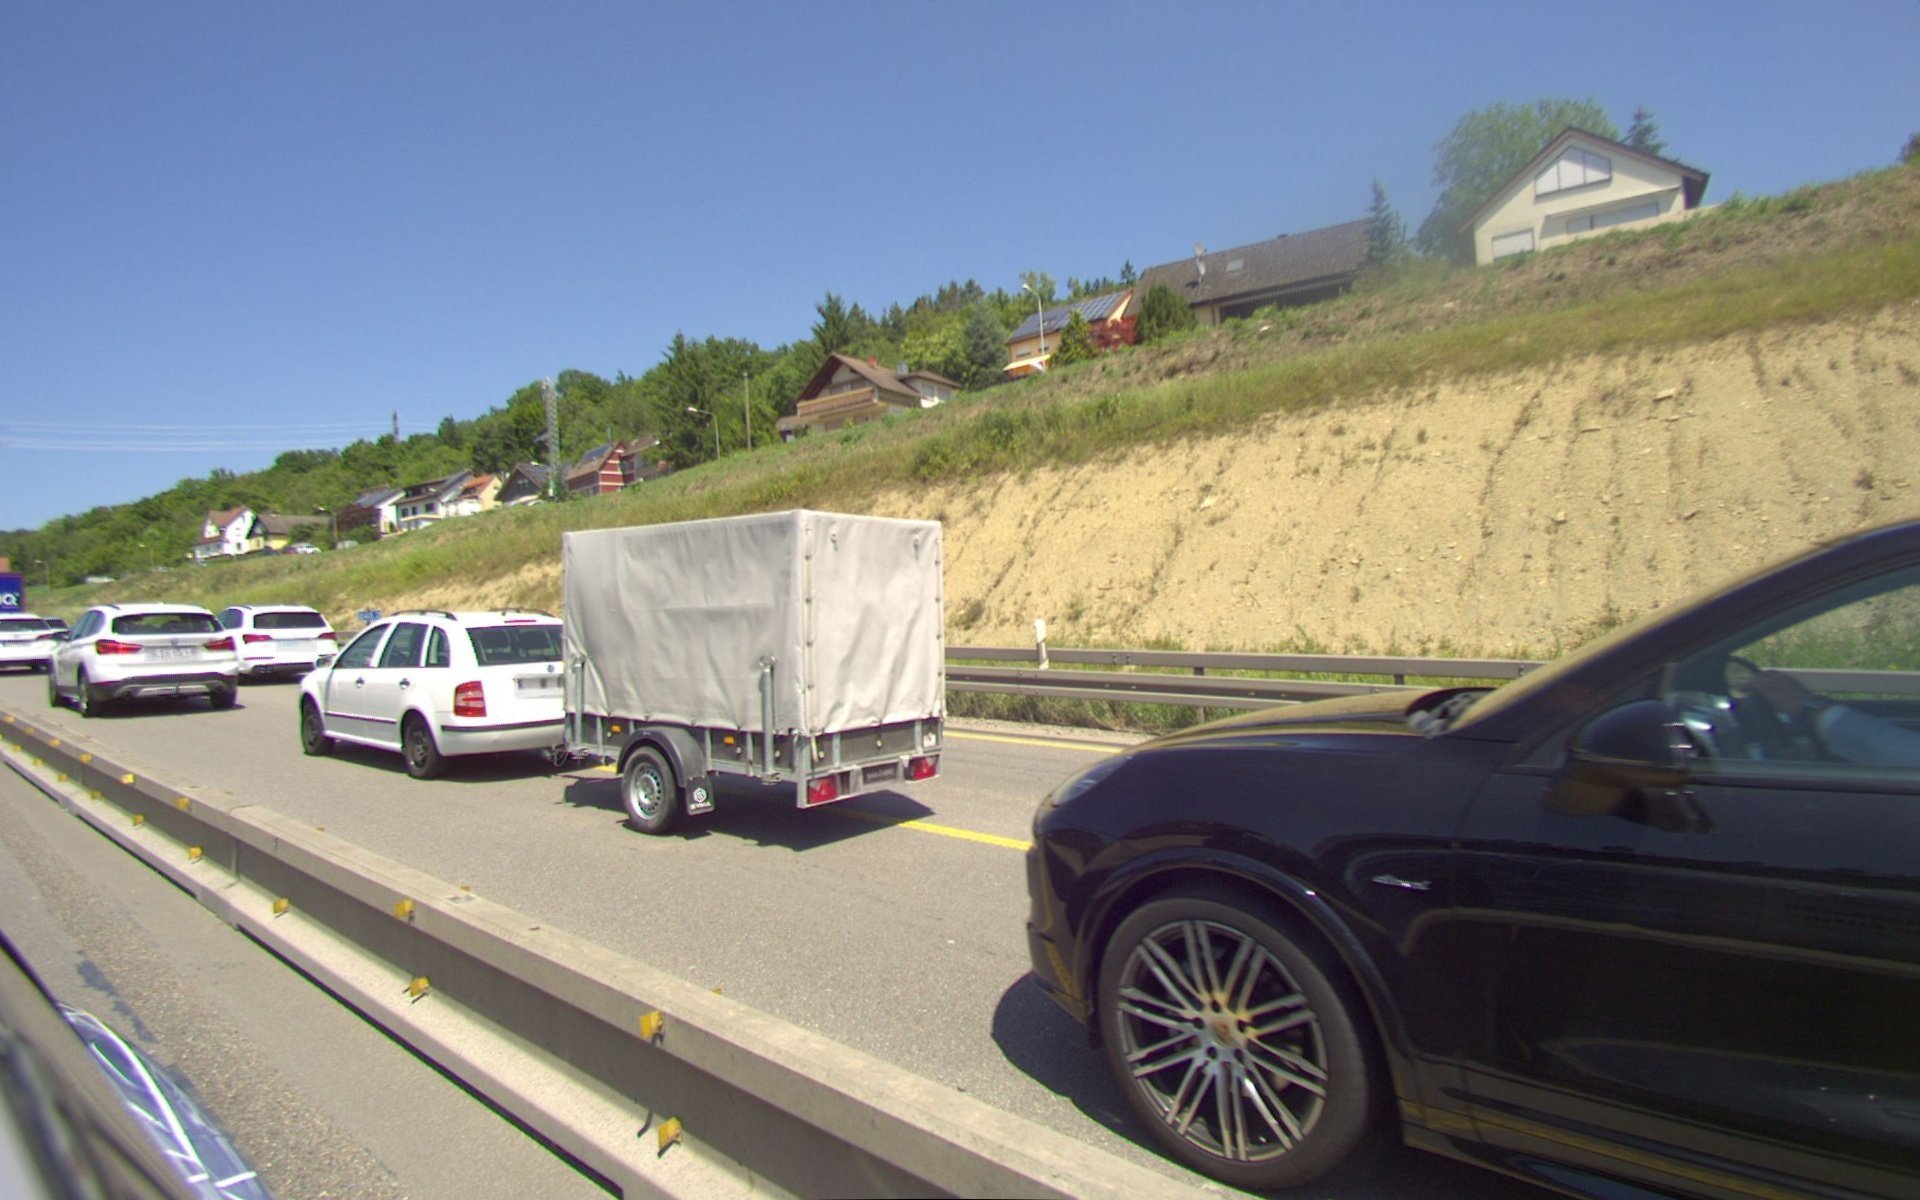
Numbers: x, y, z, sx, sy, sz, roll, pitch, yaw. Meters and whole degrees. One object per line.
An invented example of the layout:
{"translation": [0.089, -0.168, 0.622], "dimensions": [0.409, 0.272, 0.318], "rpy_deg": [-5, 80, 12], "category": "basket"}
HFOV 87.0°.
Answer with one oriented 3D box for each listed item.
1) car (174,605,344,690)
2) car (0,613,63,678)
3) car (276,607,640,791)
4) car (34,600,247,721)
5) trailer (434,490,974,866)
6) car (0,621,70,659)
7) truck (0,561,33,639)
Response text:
{"translation": [-15.040, 0.949, 21.629], "dimensions": [4.511, 1.596, 1.880], "rpy_deg": [-1, 0, 40], "category": "car"}
{"translation": [-24.007, 1.104, 25.278], "dimensions": [4.277, 1.488, 1.788], "rpy_deg": [-1, 0, 40], "category": "car"}
{"translation": [-4.959, 0.799, 9.775], "dimensions": [3.995, 1.426, 1.631], "rpy_deg": [-1, -1, 39], "category": "car"}
{"translation": [-12.745, 0.839, 15.648], "dimensions": [4.287, 1.604, 1.797], "rpy_deg": [-1, 0, 40], "category": "car"}
{"translation": [-2.078, 0.452, 7.479], "dimensions": [4.265, 2.041, 1.631], "rpy_deg": [-1, -1, 39], "category": "trailer"}
{"translation": [-36.423, 1.543, 39.696], "dimensions": [3.964, 1.389, 1.684], "rpy_deg": [-1, 0, 40], "category": "car"}
{"translation": [-56.851, 0.116, 58.471], "dimensions": [13.969, 4.191, 3.210], "rpy_deg": [-1, -1, 41], "category": "truck"}
